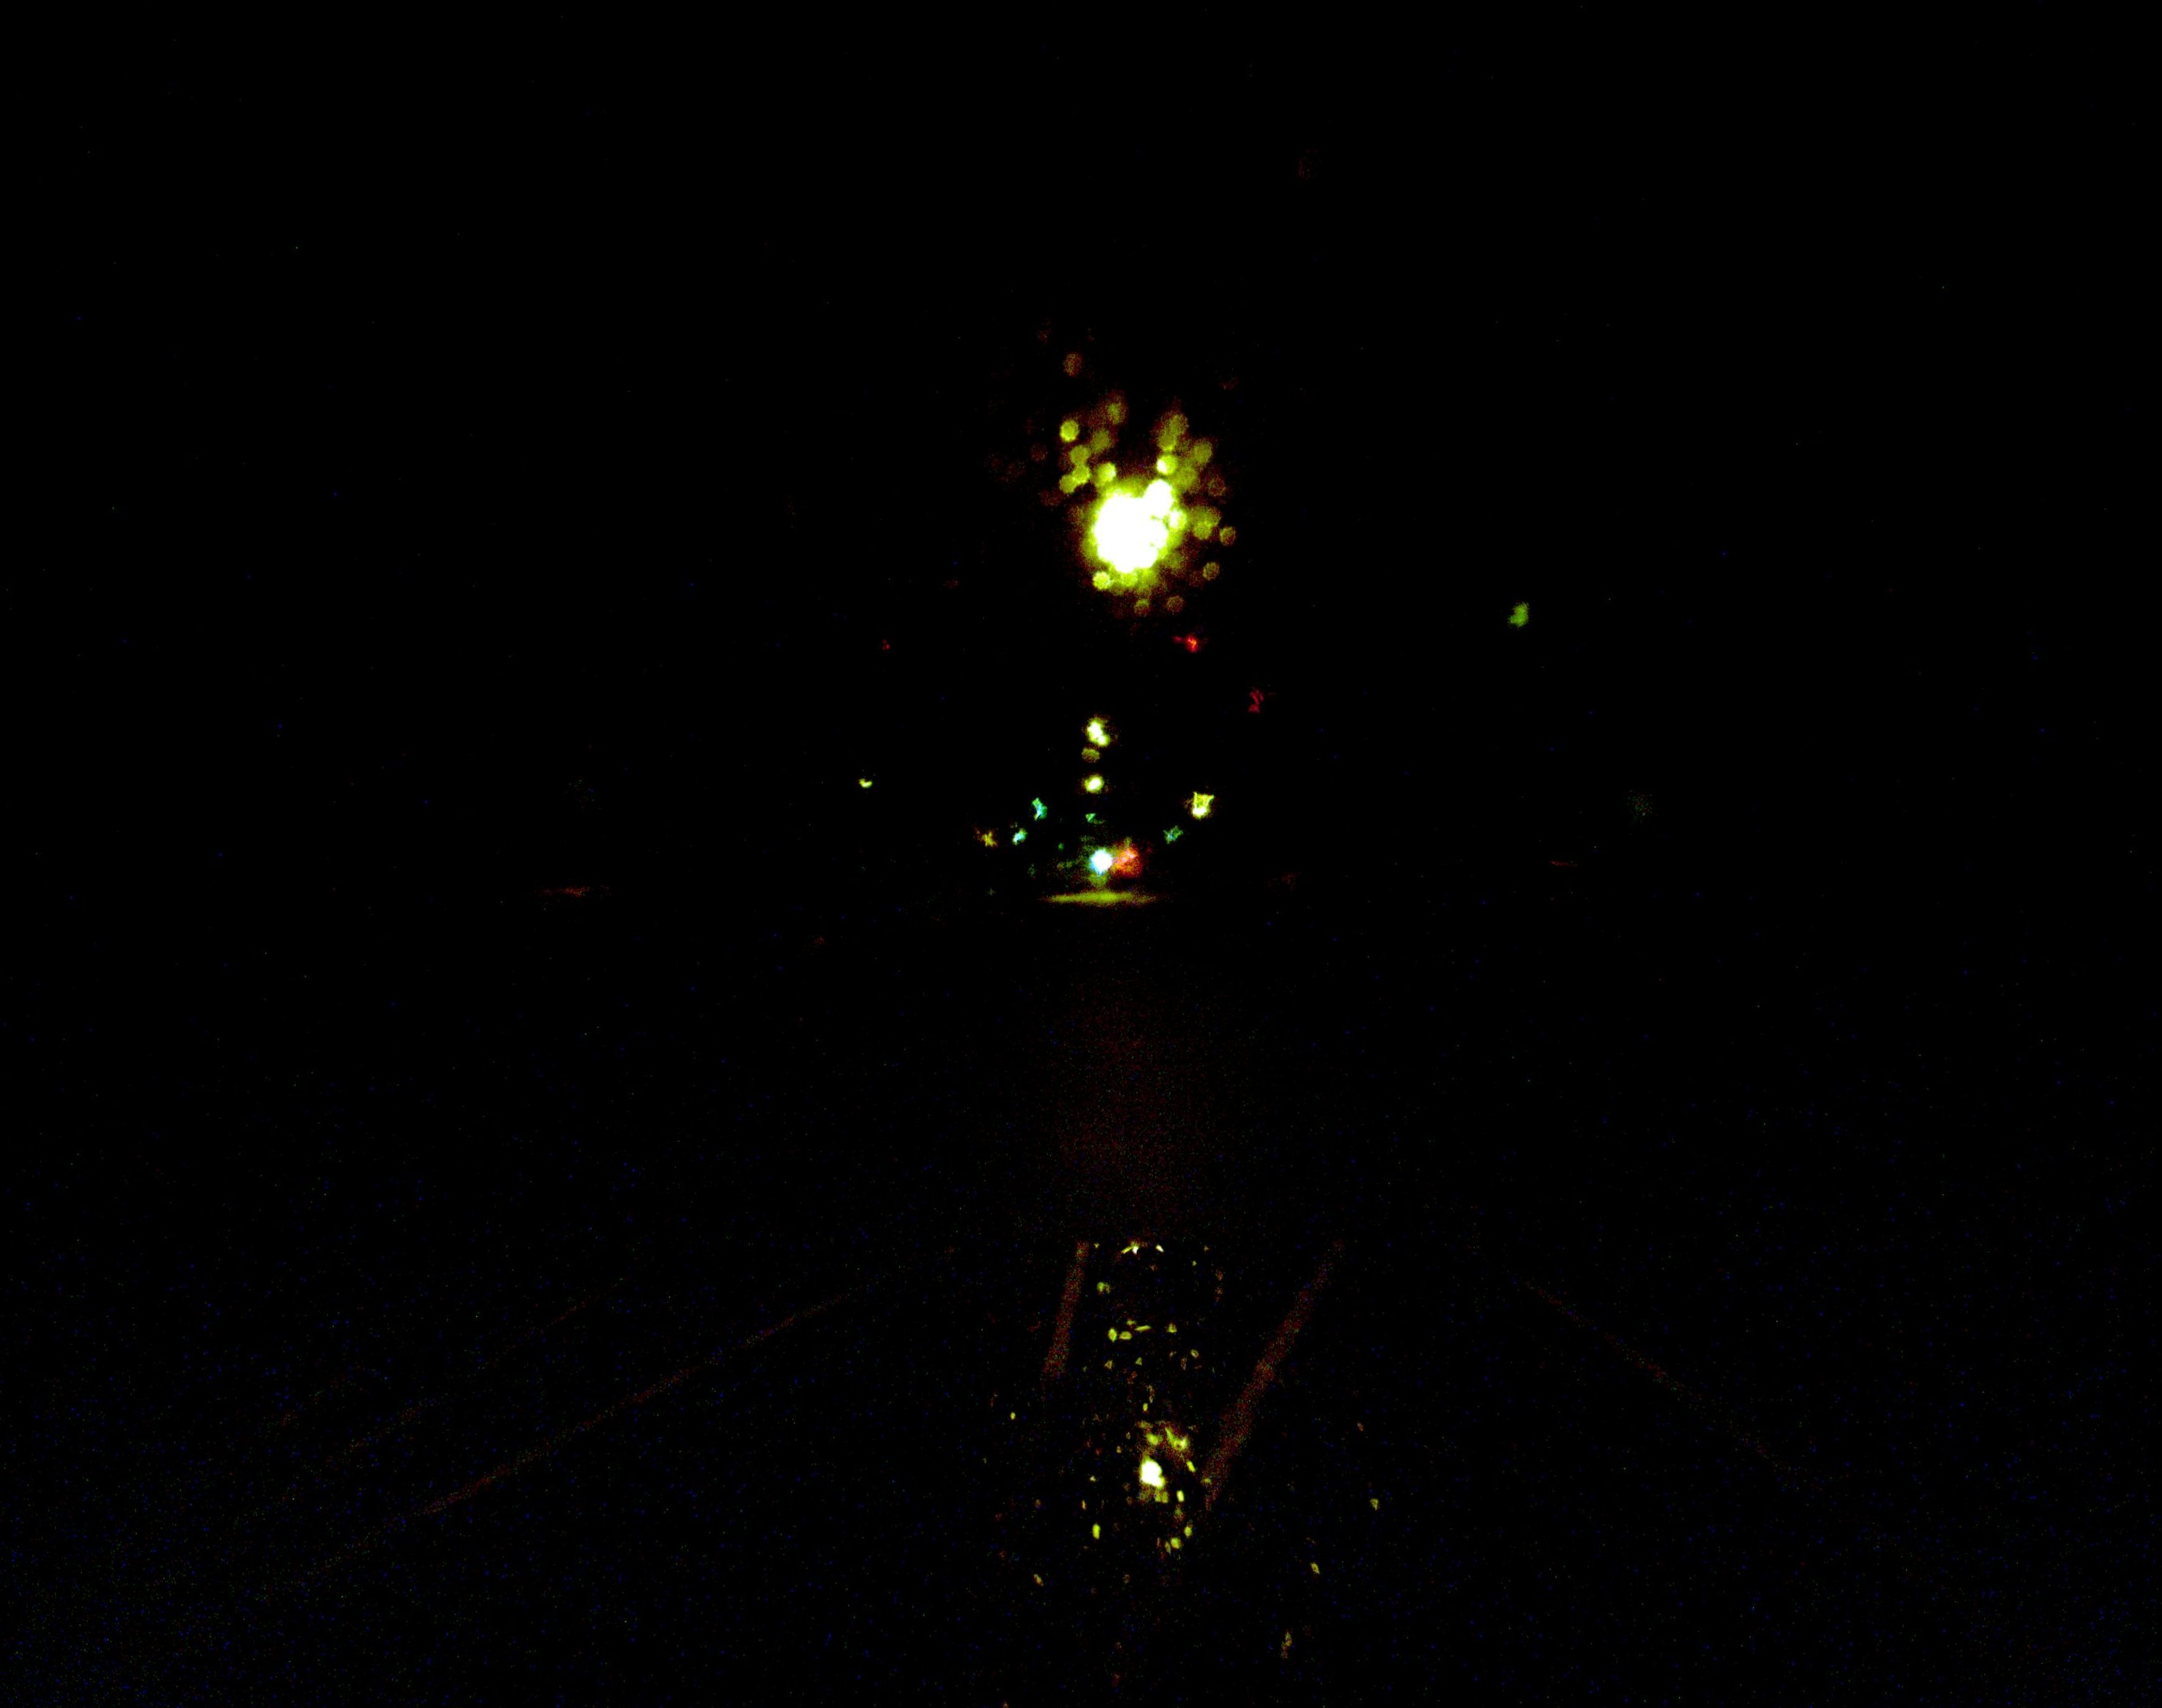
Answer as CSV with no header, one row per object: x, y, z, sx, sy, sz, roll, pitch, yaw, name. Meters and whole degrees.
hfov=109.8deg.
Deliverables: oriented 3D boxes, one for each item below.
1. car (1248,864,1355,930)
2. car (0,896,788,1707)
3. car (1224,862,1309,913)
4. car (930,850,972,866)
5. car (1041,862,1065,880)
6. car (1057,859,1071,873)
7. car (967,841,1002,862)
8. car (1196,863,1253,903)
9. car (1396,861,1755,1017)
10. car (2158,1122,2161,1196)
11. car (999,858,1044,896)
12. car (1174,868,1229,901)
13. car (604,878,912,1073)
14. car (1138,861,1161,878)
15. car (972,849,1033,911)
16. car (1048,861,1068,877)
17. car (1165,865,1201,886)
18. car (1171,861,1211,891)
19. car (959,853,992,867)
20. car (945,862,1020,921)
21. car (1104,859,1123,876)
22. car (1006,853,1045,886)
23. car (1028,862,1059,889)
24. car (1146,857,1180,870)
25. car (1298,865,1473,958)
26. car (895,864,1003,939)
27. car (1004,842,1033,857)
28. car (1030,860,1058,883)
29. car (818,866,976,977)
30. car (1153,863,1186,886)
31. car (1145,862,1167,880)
5.942,1.096,21.018,1.670,1.530,4.391,3,0,1,car
-2.822,1.034,2.352,1.758,1.538,4.978,1,0,2,car
6.234,1.080,26.023,1.670,1.530,4.390,1,0,-2,car
-14.075,0.436,82.352,4.090,1.696,1.667,1,0,4,car
-2.464,1.501,67.702,1.799,1.538,4.786,1,0,2,car
-2.150,1.471,94.902,1.695,1.581,3.765,2,0,-2,car
-12.362,-0.293,97.358,4.022,2.603,1.803,1,0,7,car
5.987,1.168,32.099,1.670,1.530,4.391,1,0,1,car
6.271,0.944,10.407,1.751,1.588,4.389,3,0,-4,car
5.879,0.936,1.944,1.435,1.452,3.374,3,0,2,car
-2.545,0.965,33.272,1.800,1.538,3.951,2,0,-2,car
5.840,1.432,37.234,1.624,1.410,4.674,1,0,-4,car
-2.739,0.938,7.316,1.460,1.298,3.628,2,0,-1,car
6.380,1.430,70.863,1.628,1.464,4.548,1,0,-1,car
-2.706,0.860,27.358,1.800,1.938,5.853,2,0,-2,car
-2.399,1.540,78.352,1.896,1.581,3.835,2,0,-3,car
6.430,1.339,48.375,1.843,1.260,4.639,1,0,2,car
6.208,1.226,43.205,1.710,1.530,4.060,3,0,1,car
-12.441,0.718,89.918,3.663,1.448,1.666,1,0,1,car
-2.765,1.020,22.181,1.800,1.482,4.128,2,0,-2,car
3.134,1.303,73.096,1.710,1.530,4.371,1,0,1,car
-2.802,0.787,39.211,1.873,1.570,4.747,2,0,-2,car
-2.331,1.287,47.381,1.800,1.538,3.951,2,0,-2,car
11.738,1.336,108.072,4.539,1.695,1.853,1,0,15,car
6.041,1.064,15.687,1.670,1.530,4.390,3,0,-1,car
-2.856,0.988,17.330,1.800,1.438,4.279,2,0,-1,car
-9.491,-0.640,115.129,4.022,2.156,1.803,1,0,7,car
-2.493,1.135,51.662,1.800,1.464,3.951,2,0,-2,car
-2.870,0.983,12.763,1.679,1.479,4.279,2,0,-1,car
6.201,1.428,53.717,1.799,1.464,4.396,1,0,0,car
6.397,1.454,65.147,1.627,1.464,3.964,1,0,2,car
